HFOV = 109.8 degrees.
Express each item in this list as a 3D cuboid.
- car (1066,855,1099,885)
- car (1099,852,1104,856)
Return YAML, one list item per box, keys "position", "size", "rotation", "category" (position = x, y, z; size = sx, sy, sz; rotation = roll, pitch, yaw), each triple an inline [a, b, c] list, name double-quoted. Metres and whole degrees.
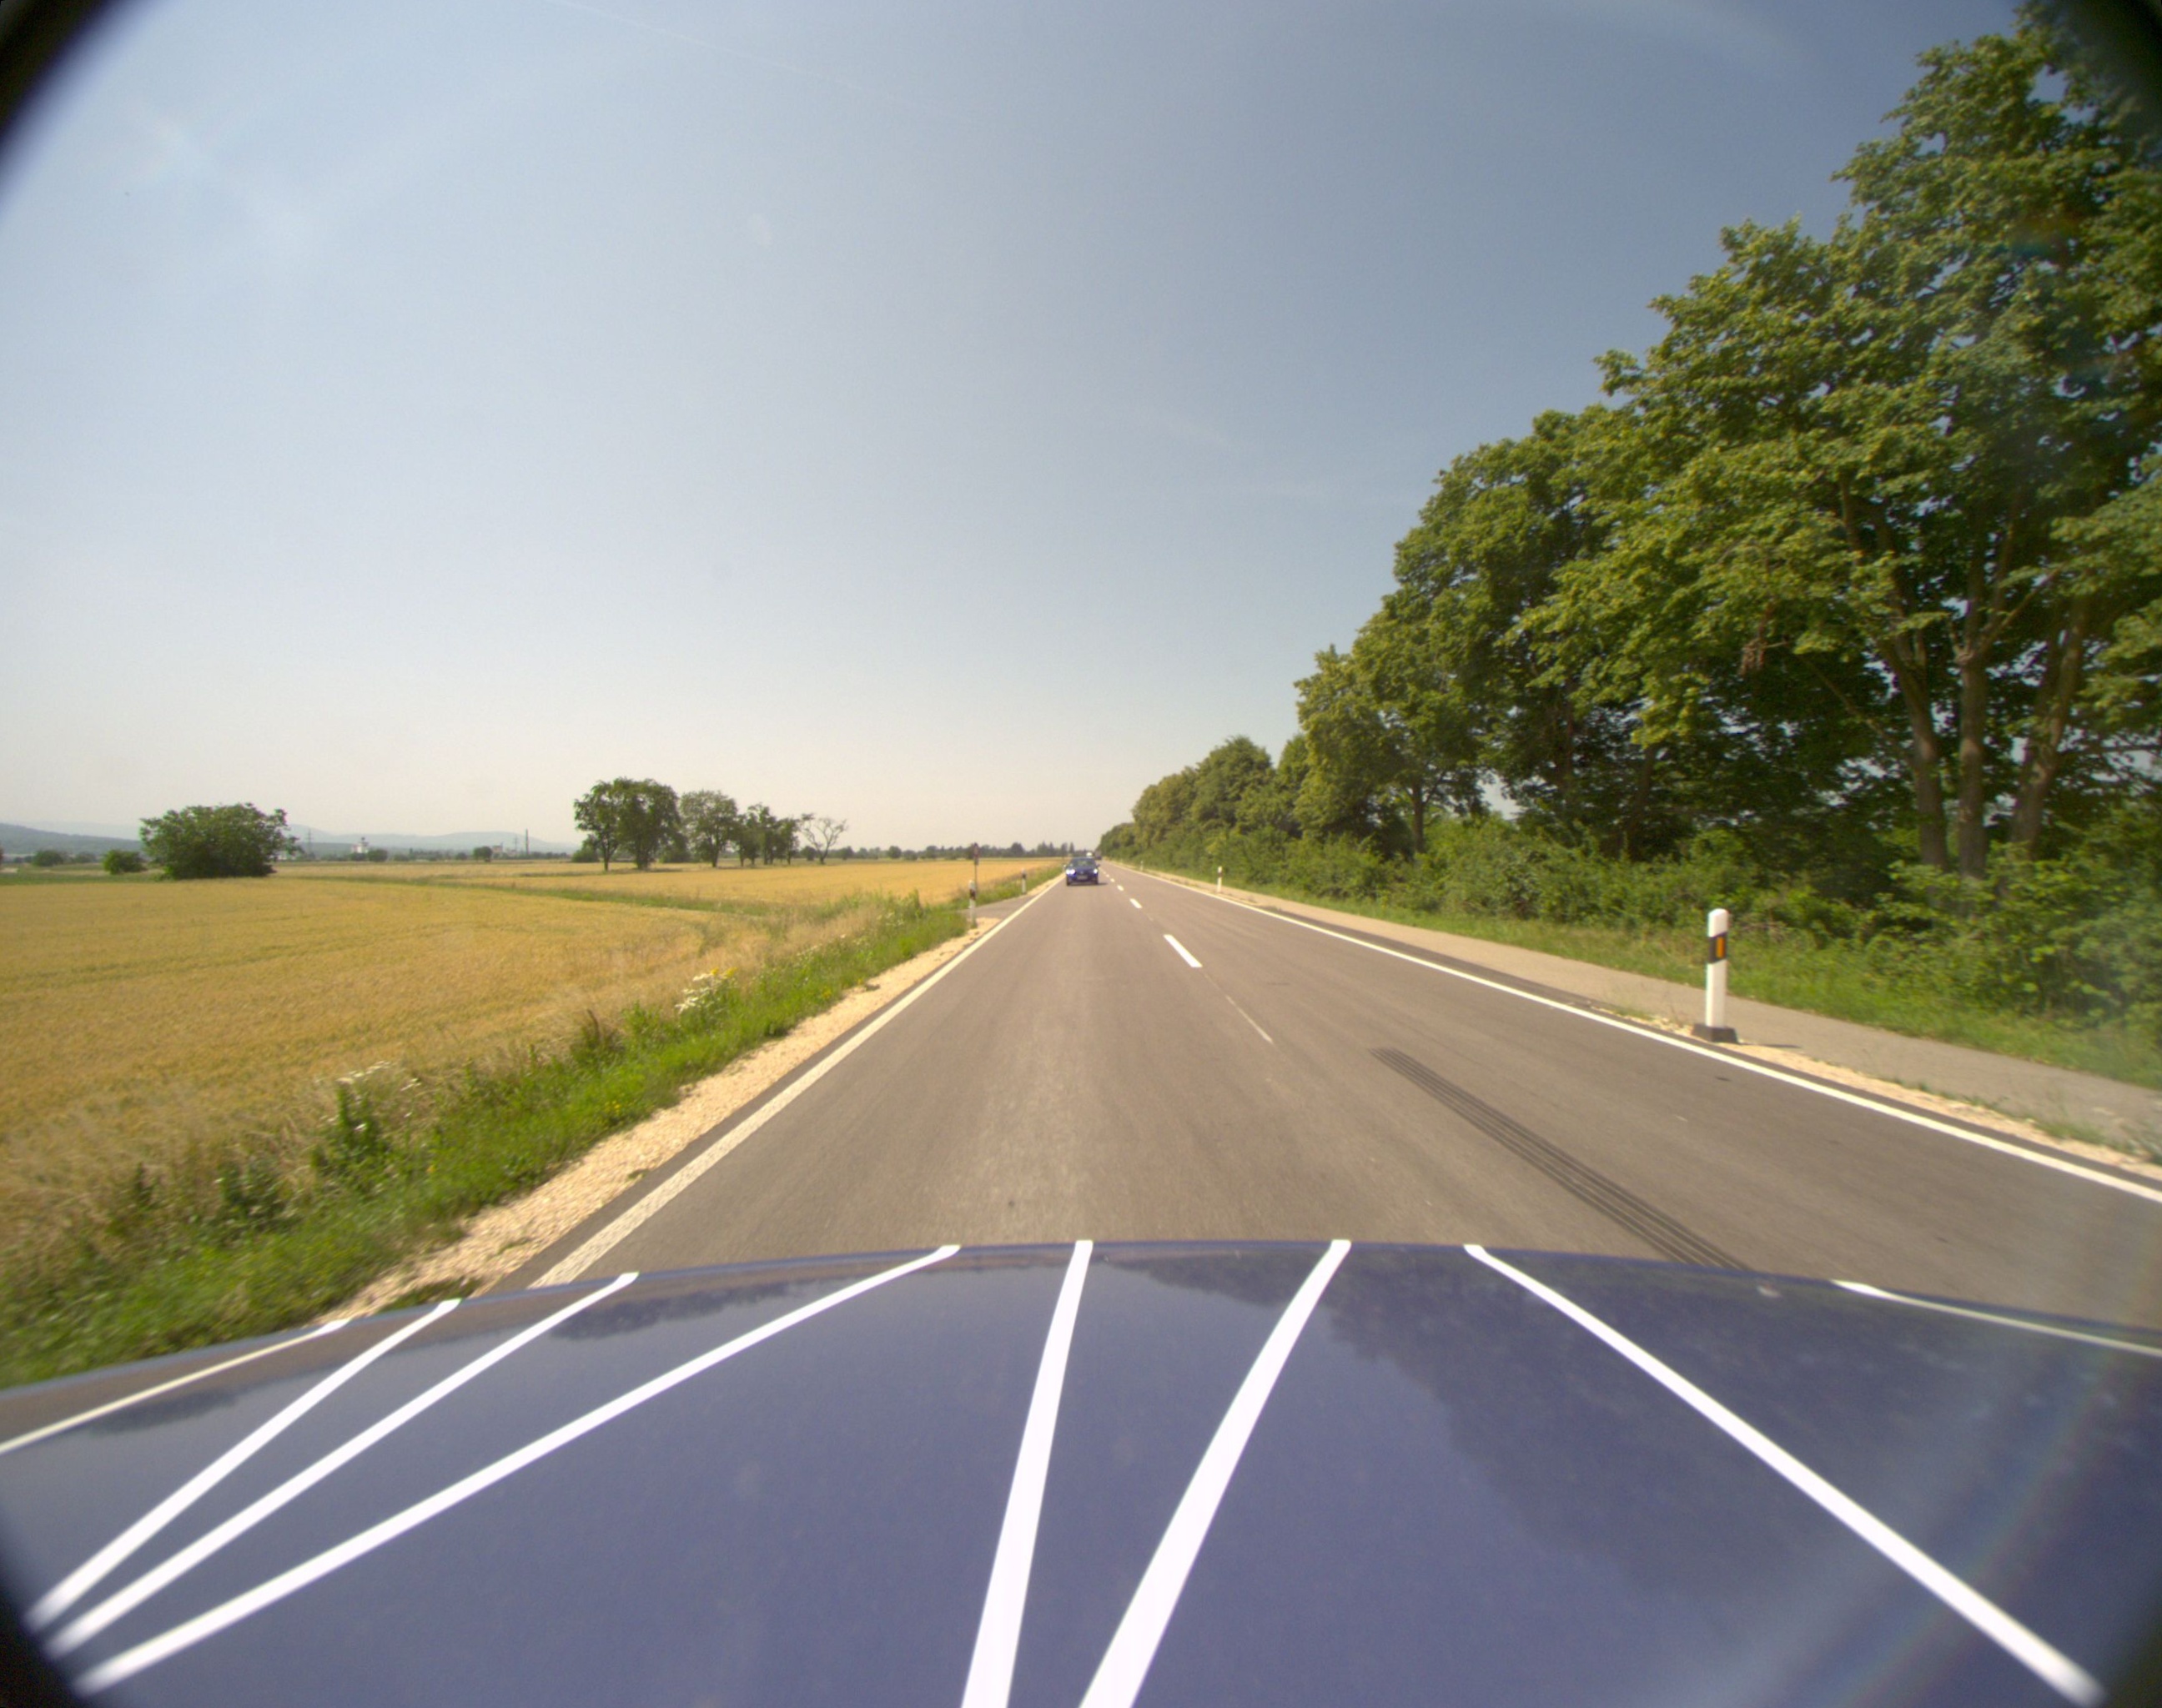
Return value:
- position: [0.097, 0.845, 41.994]
  size: [1.662, 1.508, 4.000]
  rotation: [-2, 0, 0]
  category: "car"
- position: [7.165, -0.051, 266.440]
  size: [1.796, 1.565, 4.479]
  rotation: [0, 0, 0]
  category: "car"
